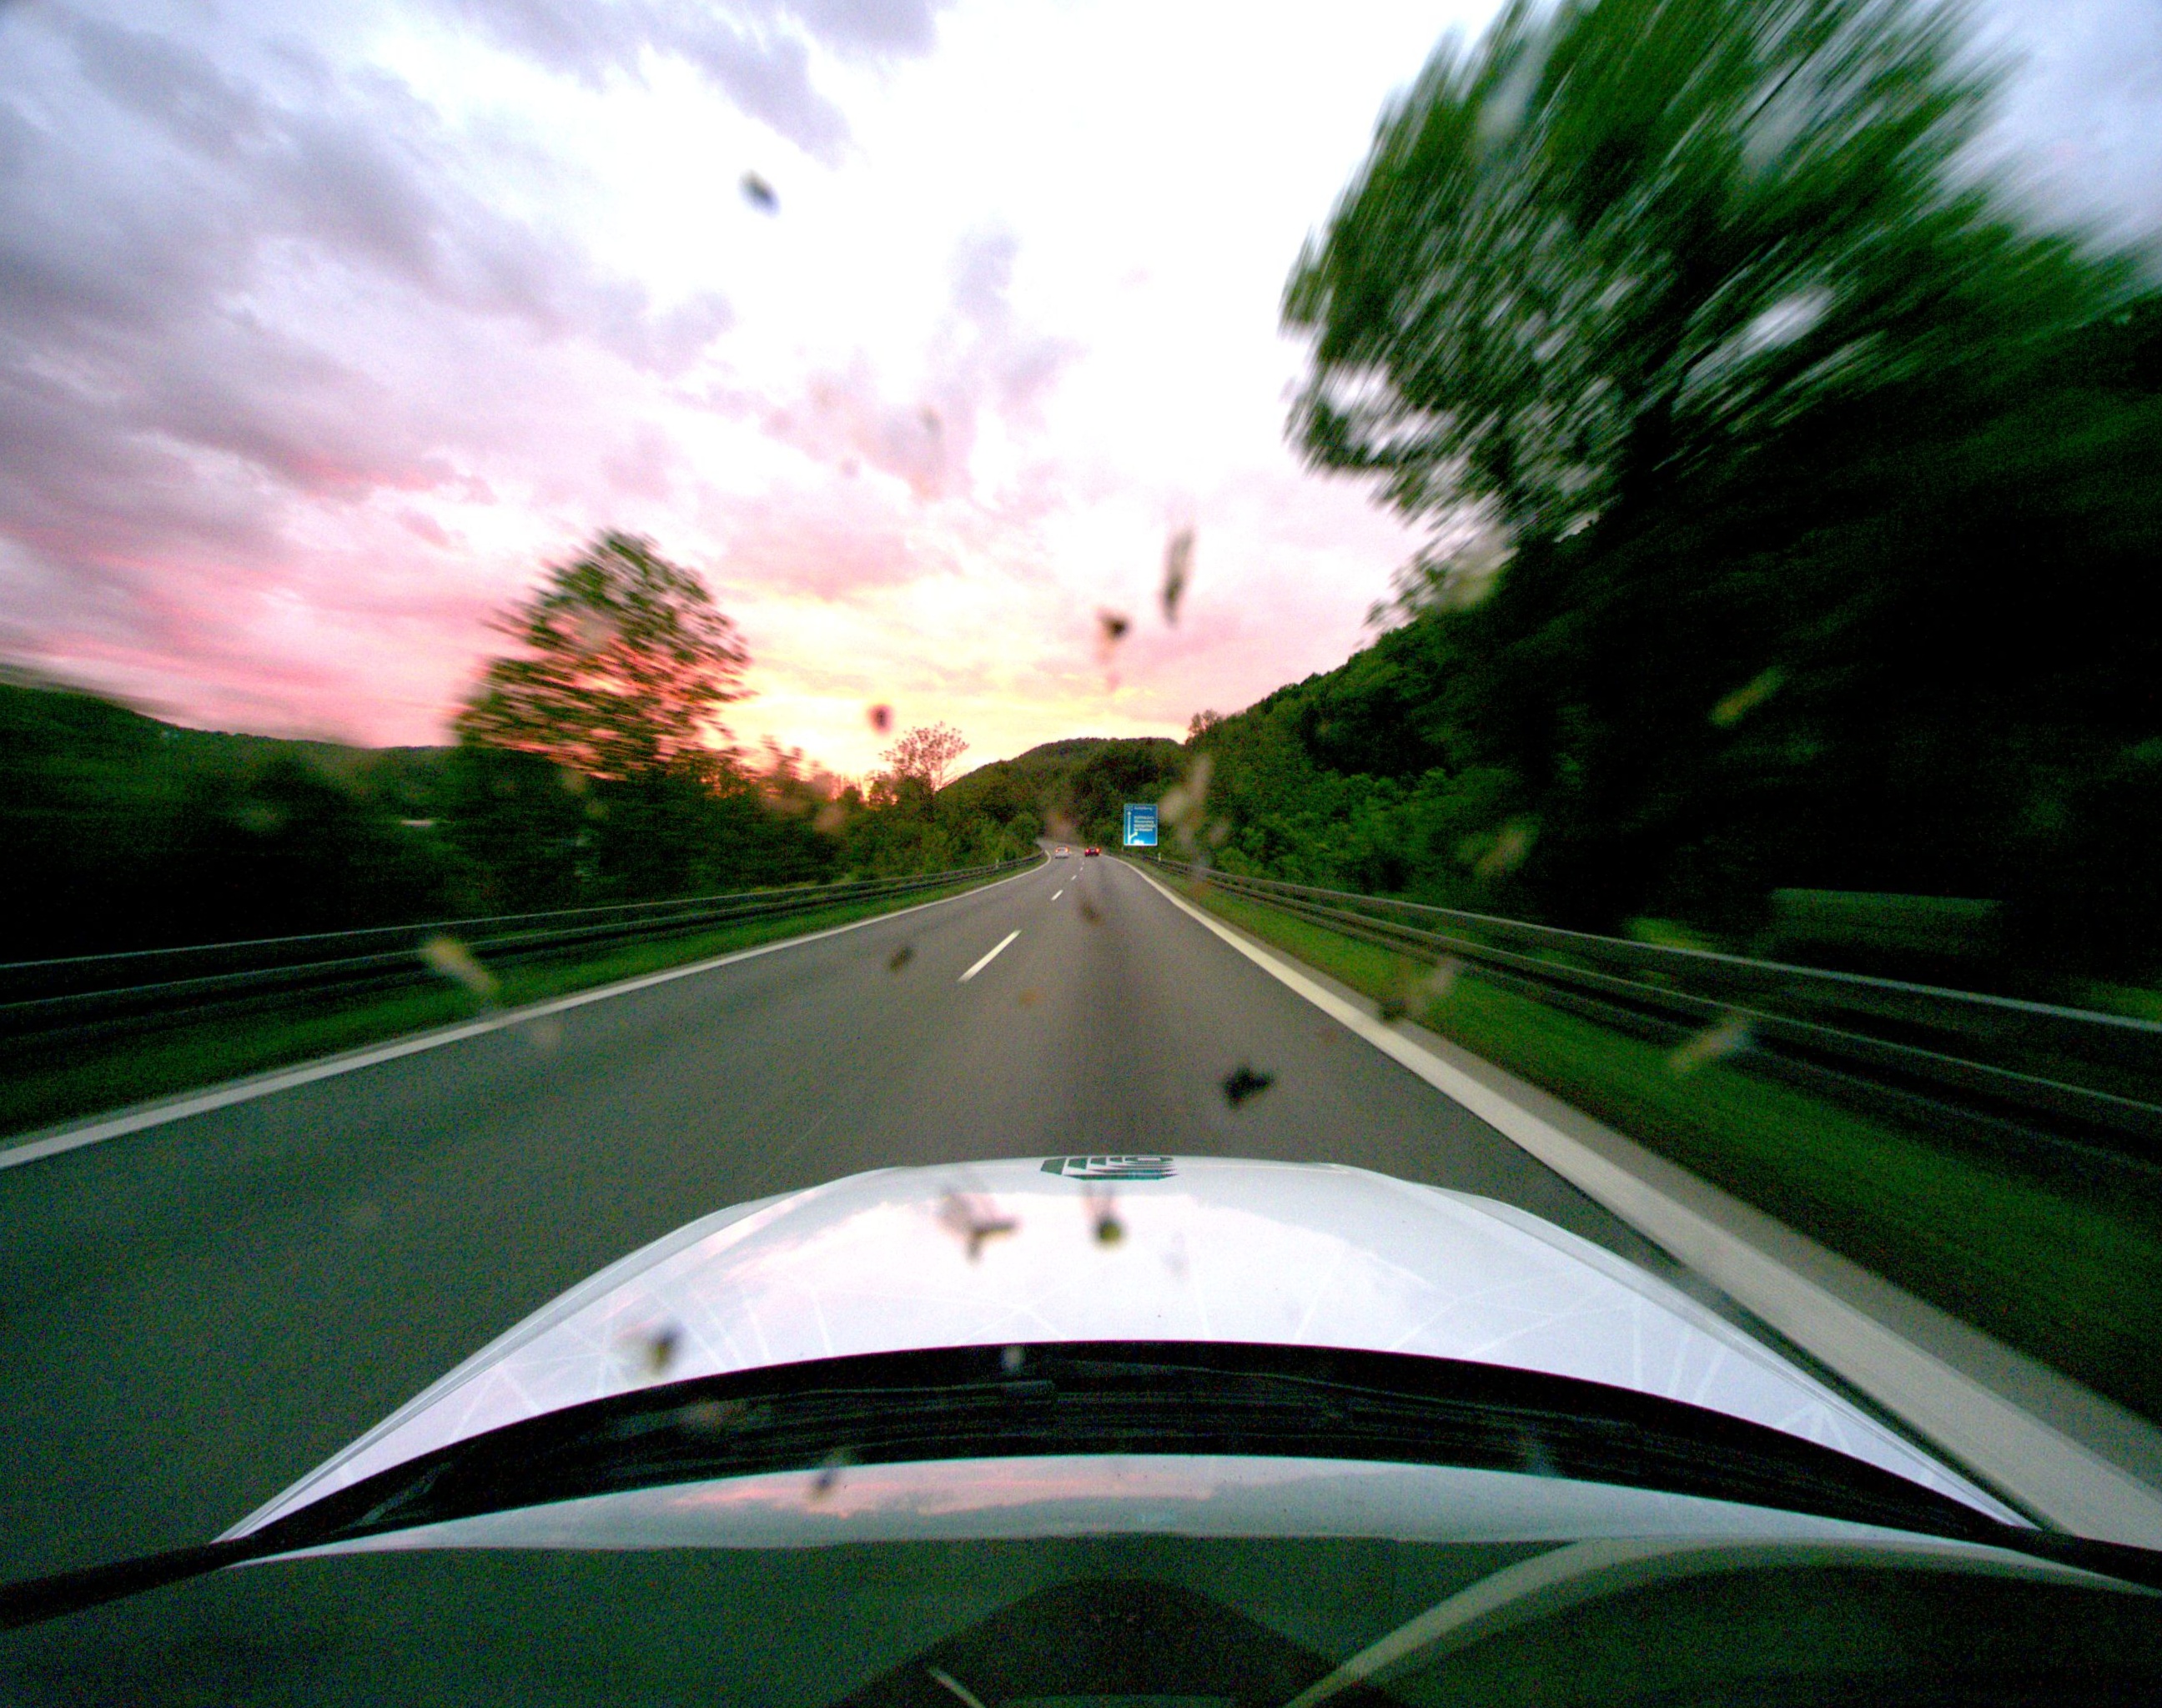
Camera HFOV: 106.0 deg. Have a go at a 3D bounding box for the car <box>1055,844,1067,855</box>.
[{"bbox_3d":[-3.060,-0.680,124.454,1.712,1.635,4.000,-1,0,0],"label":"car"}]

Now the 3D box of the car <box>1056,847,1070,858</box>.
[{"bbox_3d":[-2.470,-0.238,111.481,1.712,1.501,4.001,-1,0,1],"label":"car"}]

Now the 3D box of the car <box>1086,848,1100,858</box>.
[{"bbox_3d":[1.729,-0.145,114.956,1.871,1.466,4.001,-1,0,1],"label":"car"}]
